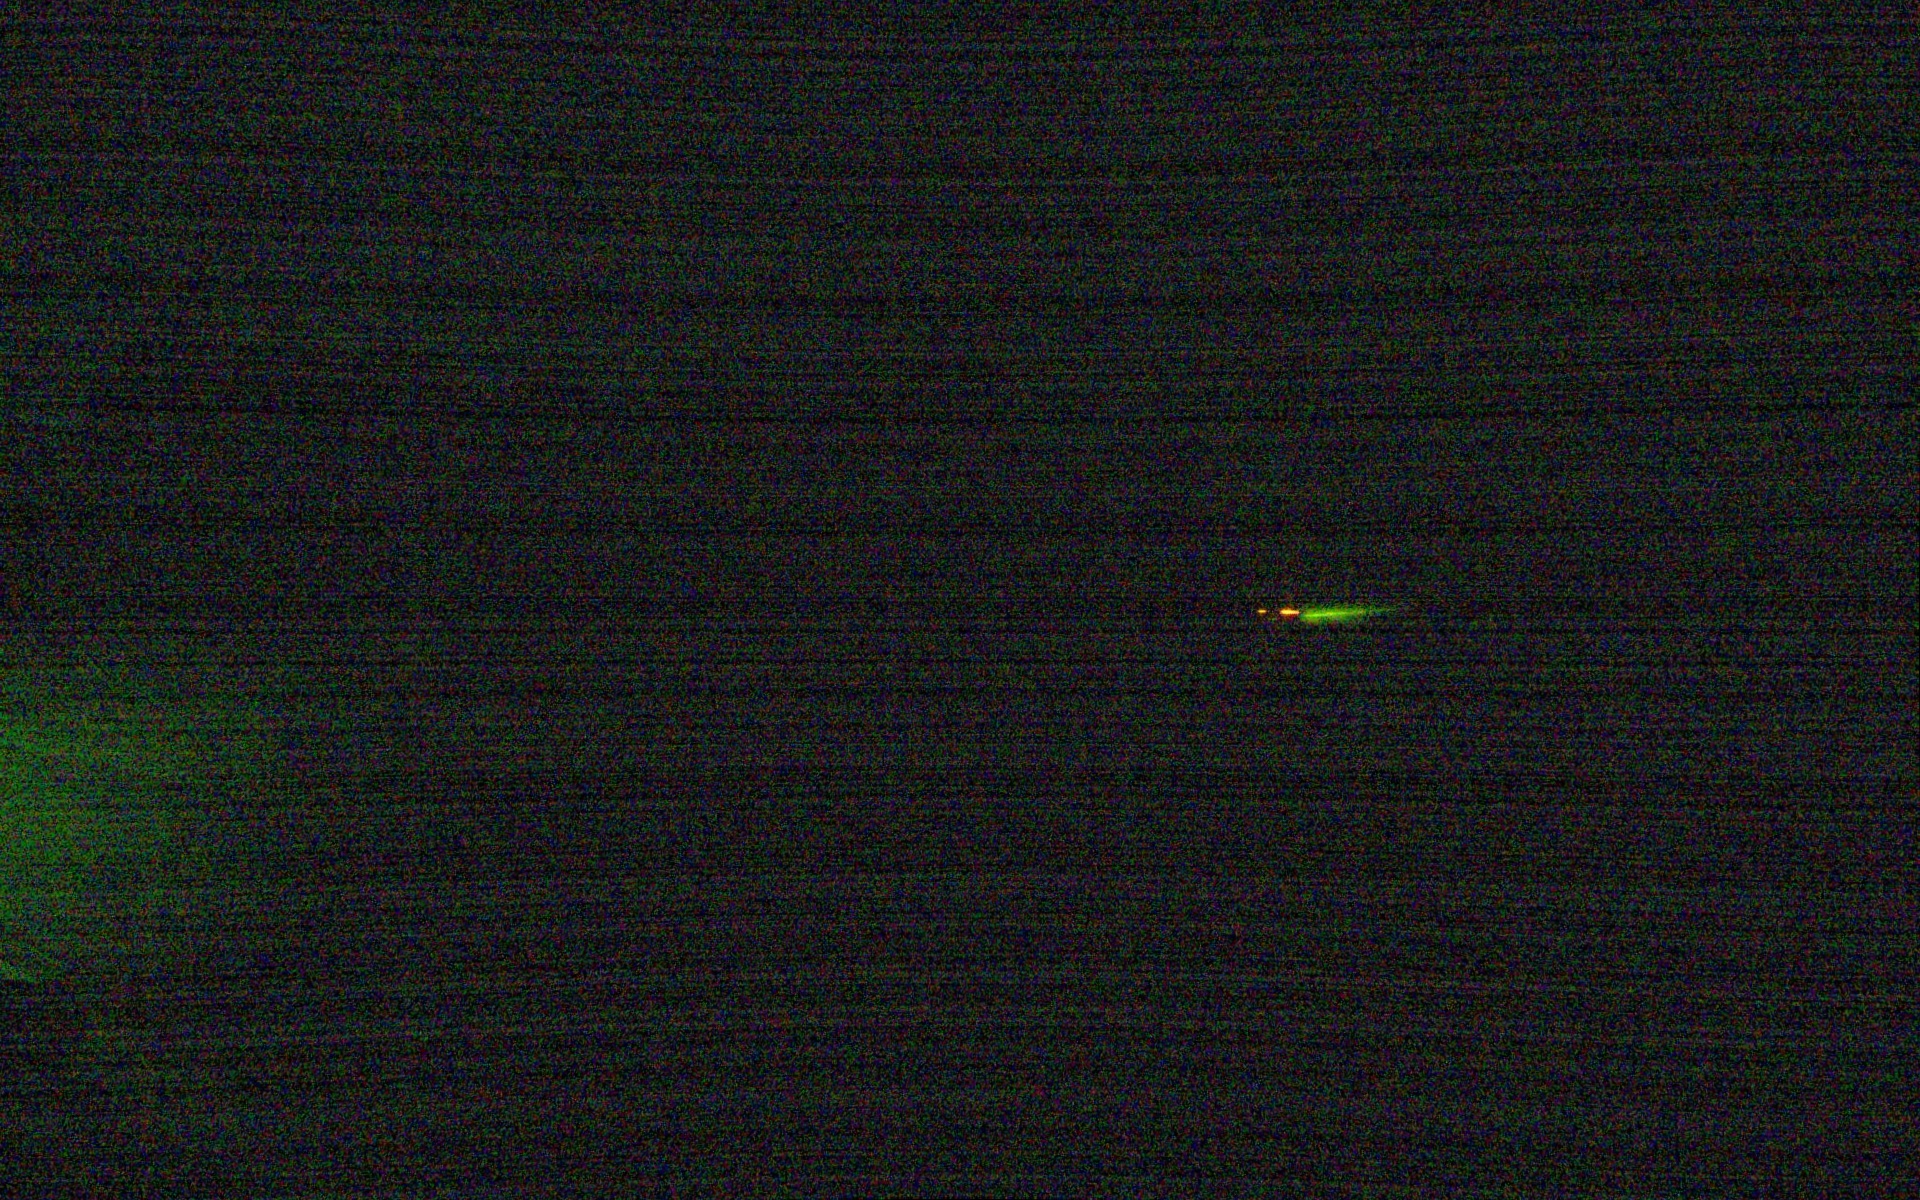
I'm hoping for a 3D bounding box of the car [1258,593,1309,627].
[{"bbox_3d":[18.546,0.601,57.278,1.910,1.839,4.244,0,-1,31],"label":"car"}]
